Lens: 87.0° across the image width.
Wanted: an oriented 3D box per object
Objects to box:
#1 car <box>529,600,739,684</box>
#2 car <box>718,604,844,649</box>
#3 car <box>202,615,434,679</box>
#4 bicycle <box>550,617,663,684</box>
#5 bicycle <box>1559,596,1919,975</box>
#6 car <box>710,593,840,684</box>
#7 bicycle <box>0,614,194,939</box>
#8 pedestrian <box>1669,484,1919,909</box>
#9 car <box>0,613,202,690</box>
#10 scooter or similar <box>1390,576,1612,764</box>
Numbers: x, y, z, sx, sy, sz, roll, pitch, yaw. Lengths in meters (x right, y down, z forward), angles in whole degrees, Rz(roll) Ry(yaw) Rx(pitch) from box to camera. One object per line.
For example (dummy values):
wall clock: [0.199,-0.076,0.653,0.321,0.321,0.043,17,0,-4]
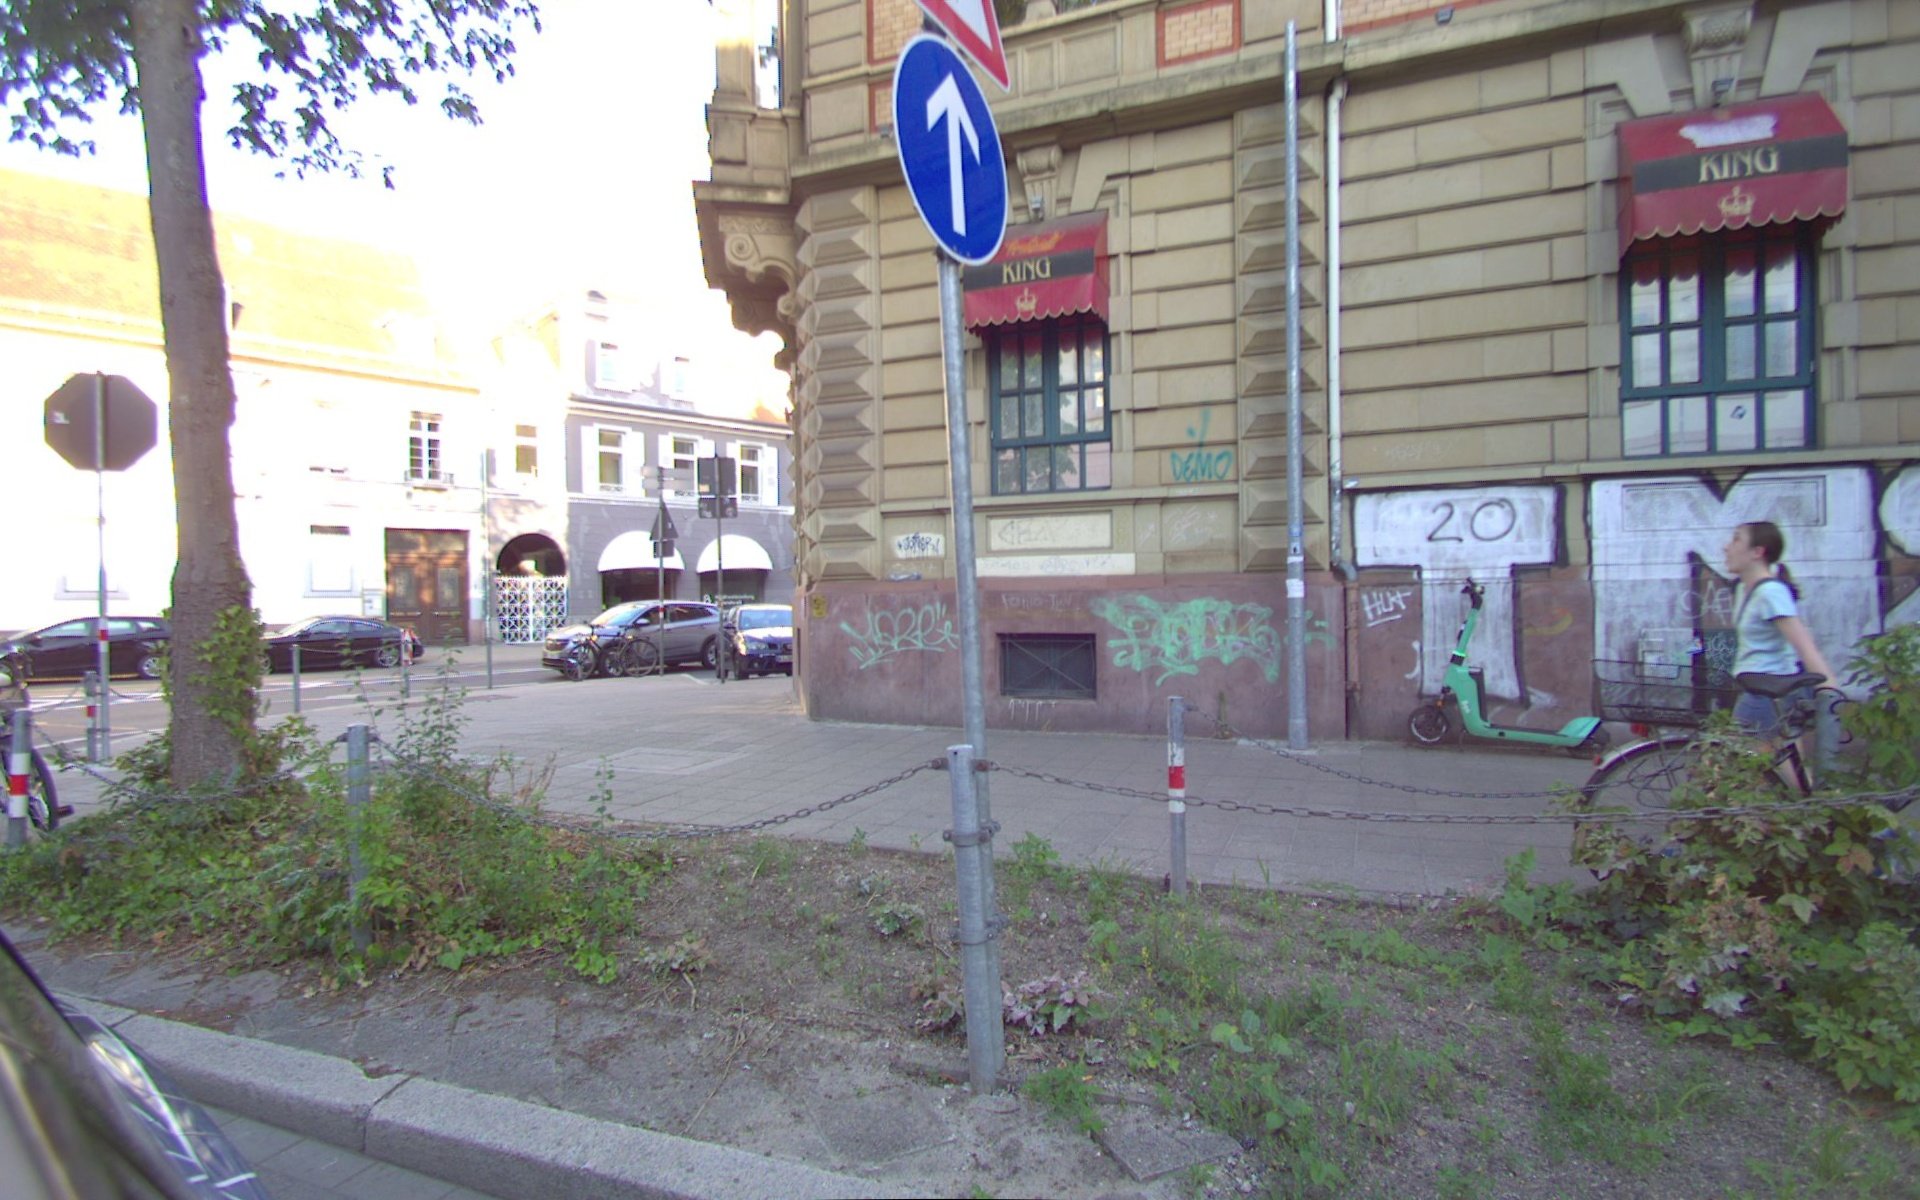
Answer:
car: [-7.106,0.838,22.413,1.689,1.601,4.181,0,1,40]
car: [-6.369,0.923,36.275,4.187,1.458,1.749,-1,-1,-45]
car: [-16.341,1.144,25.947,4.784,1.405,1.780,-1,-1,-43]
bicycle: [-6.435,0.911,18.466,1.774,1.134,0.730,-1,-3,-36]
bicycle: [3.220,0.575,3.315,2.088,1.162,0.508,-1,1,24]
car: [-3.555,0.754,18.884,1.711,1.472,3.875,-1,-3,-20]
bicycle: [-4.673,0.727,4.982,2.569,1.277,0.835,-1,-1,38]
pedestrian: [3.527,0.344,4.160,0.978,1.568,0.692,0,2,37]
car: [-19.764,1.113,22.587,4.365,1.553,1.809,0,-1,-44]
scooter or similar: [3.685,0.447,6.933,1.284,1.176,0.434,-1,1,36]
